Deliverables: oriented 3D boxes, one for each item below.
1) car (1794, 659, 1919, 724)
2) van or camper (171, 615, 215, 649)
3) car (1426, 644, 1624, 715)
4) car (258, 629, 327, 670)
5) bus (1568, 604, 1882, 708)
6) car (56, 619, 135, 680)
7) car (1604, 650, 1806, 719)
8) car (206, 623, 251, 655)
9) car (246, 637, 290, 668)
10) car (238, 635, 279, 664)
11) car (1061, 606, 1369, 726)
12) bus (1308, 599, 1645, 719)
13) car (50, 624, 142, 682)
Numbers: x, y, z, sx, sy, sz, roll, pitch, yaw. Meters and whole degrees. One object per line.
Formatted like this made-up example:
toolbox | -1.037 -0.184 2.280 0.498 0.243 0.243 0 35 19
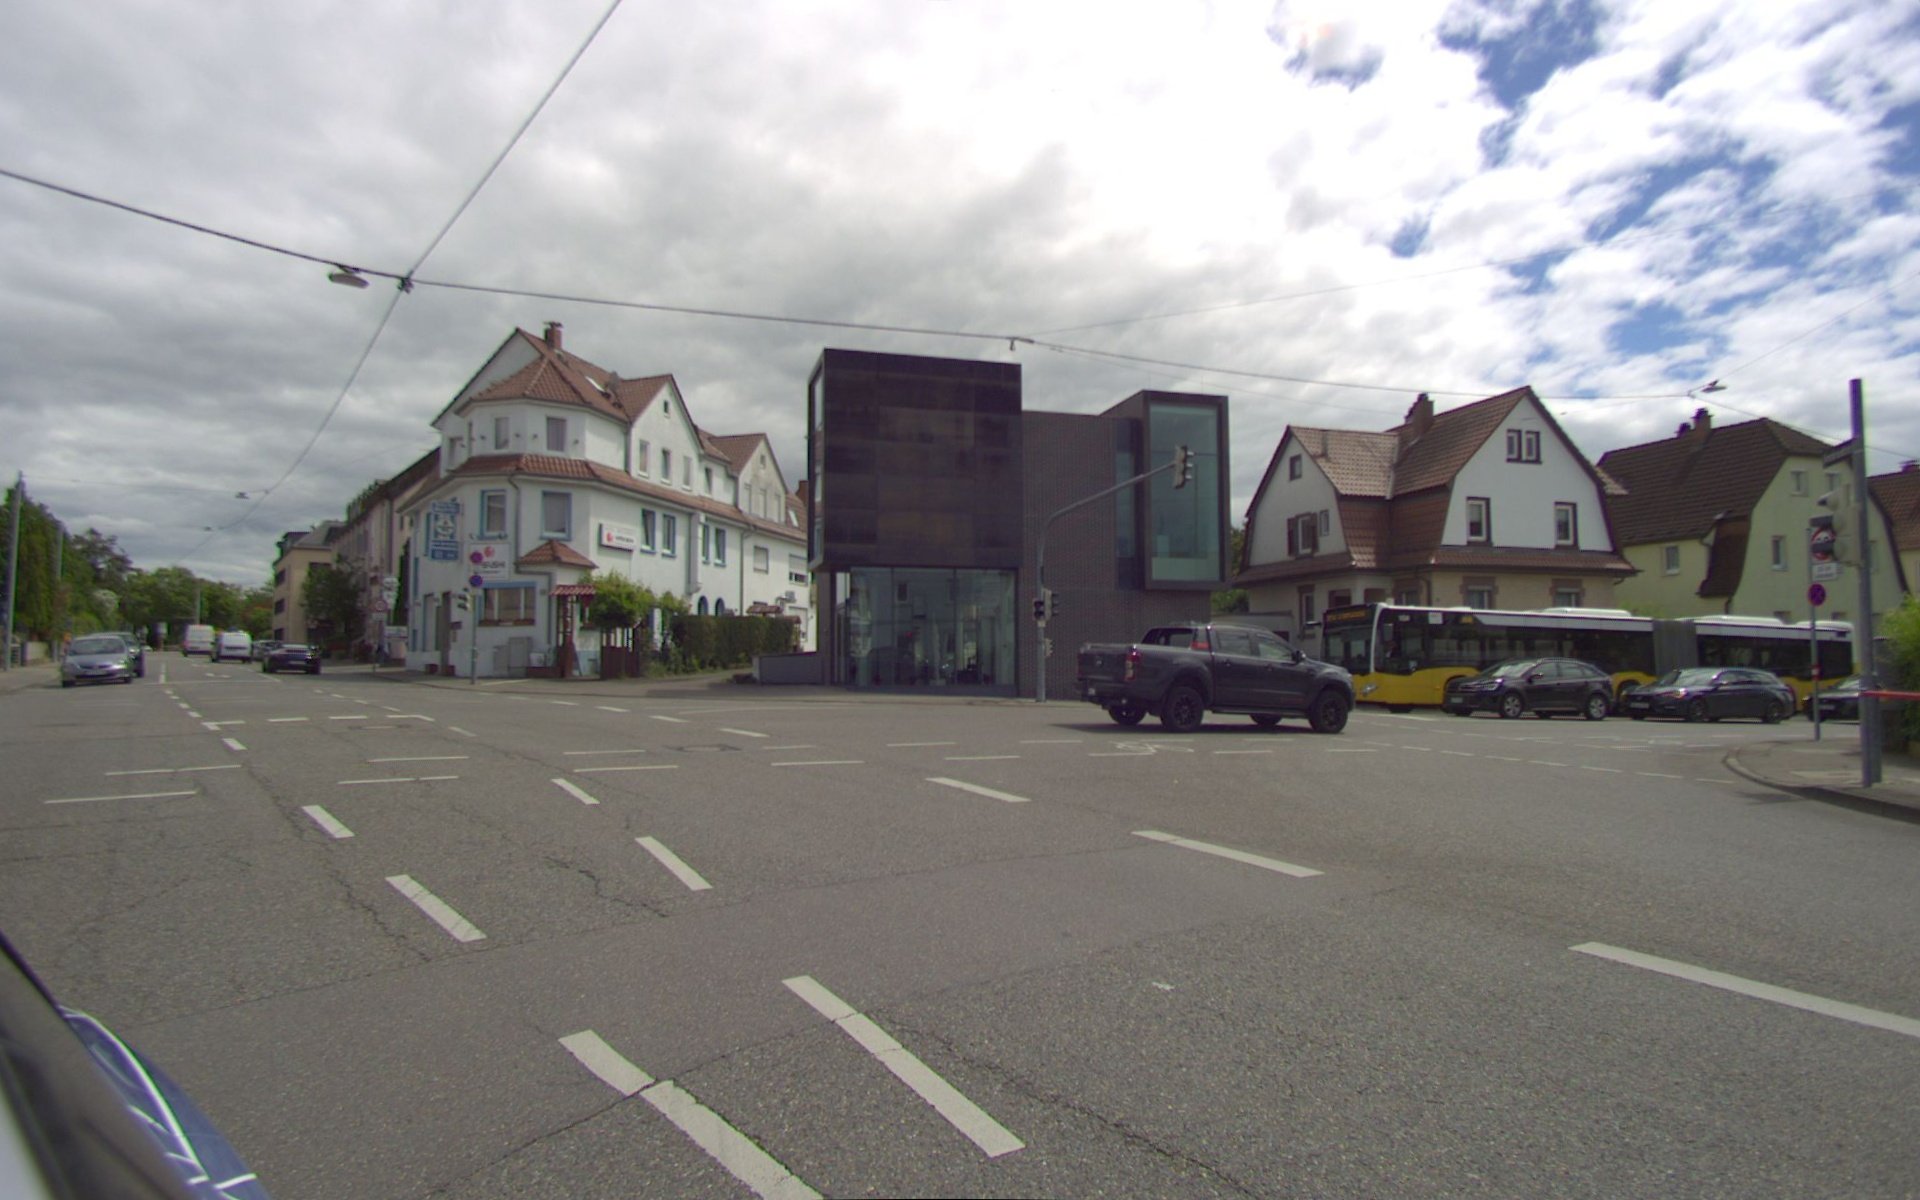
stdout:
car | 25.611 2.511 27.951 3.933 1.652 2.005 2 -3 -14
van or camper | -63.306 2.715 83.515 2.082 2.606 5.650 7 -7 -43
car | 13.919 1.939 25.024 3.933 1.652 2.005 2 -3 -14
car | -27.624 2.038 41.851 1.968 1.541 4.008 6 -5 -37
bus | 23.493 1.764 31.103 9.034 2.937 2.795 2 -3 -16
car | -30.801 1.754 36.167 1.968 2.029 4.007 3 -3 -39
car | 19.121 2.142 26.038 4.113 1.652 2.005 2 -3 -14
car | -44.683 2.414 61.801 1.793 1.826 4.425 4 -5 -40
car | -47.167 3.542 68.918 1.969 2.029 4.006 3 -4 -41
car | -50.534 3.532 72.890 1.969 2.029 4.006 3 -4 -40
car | 4.486 1.148 17.704 5.130 1.863 1.894 2 -3 -24
bus | 14.660 1.701 28.773 9.034 3.084 2.795 2 -3 -16
car | -26.999 1.638 31.744 1.968 1.697 4.008 3 -3 -38
